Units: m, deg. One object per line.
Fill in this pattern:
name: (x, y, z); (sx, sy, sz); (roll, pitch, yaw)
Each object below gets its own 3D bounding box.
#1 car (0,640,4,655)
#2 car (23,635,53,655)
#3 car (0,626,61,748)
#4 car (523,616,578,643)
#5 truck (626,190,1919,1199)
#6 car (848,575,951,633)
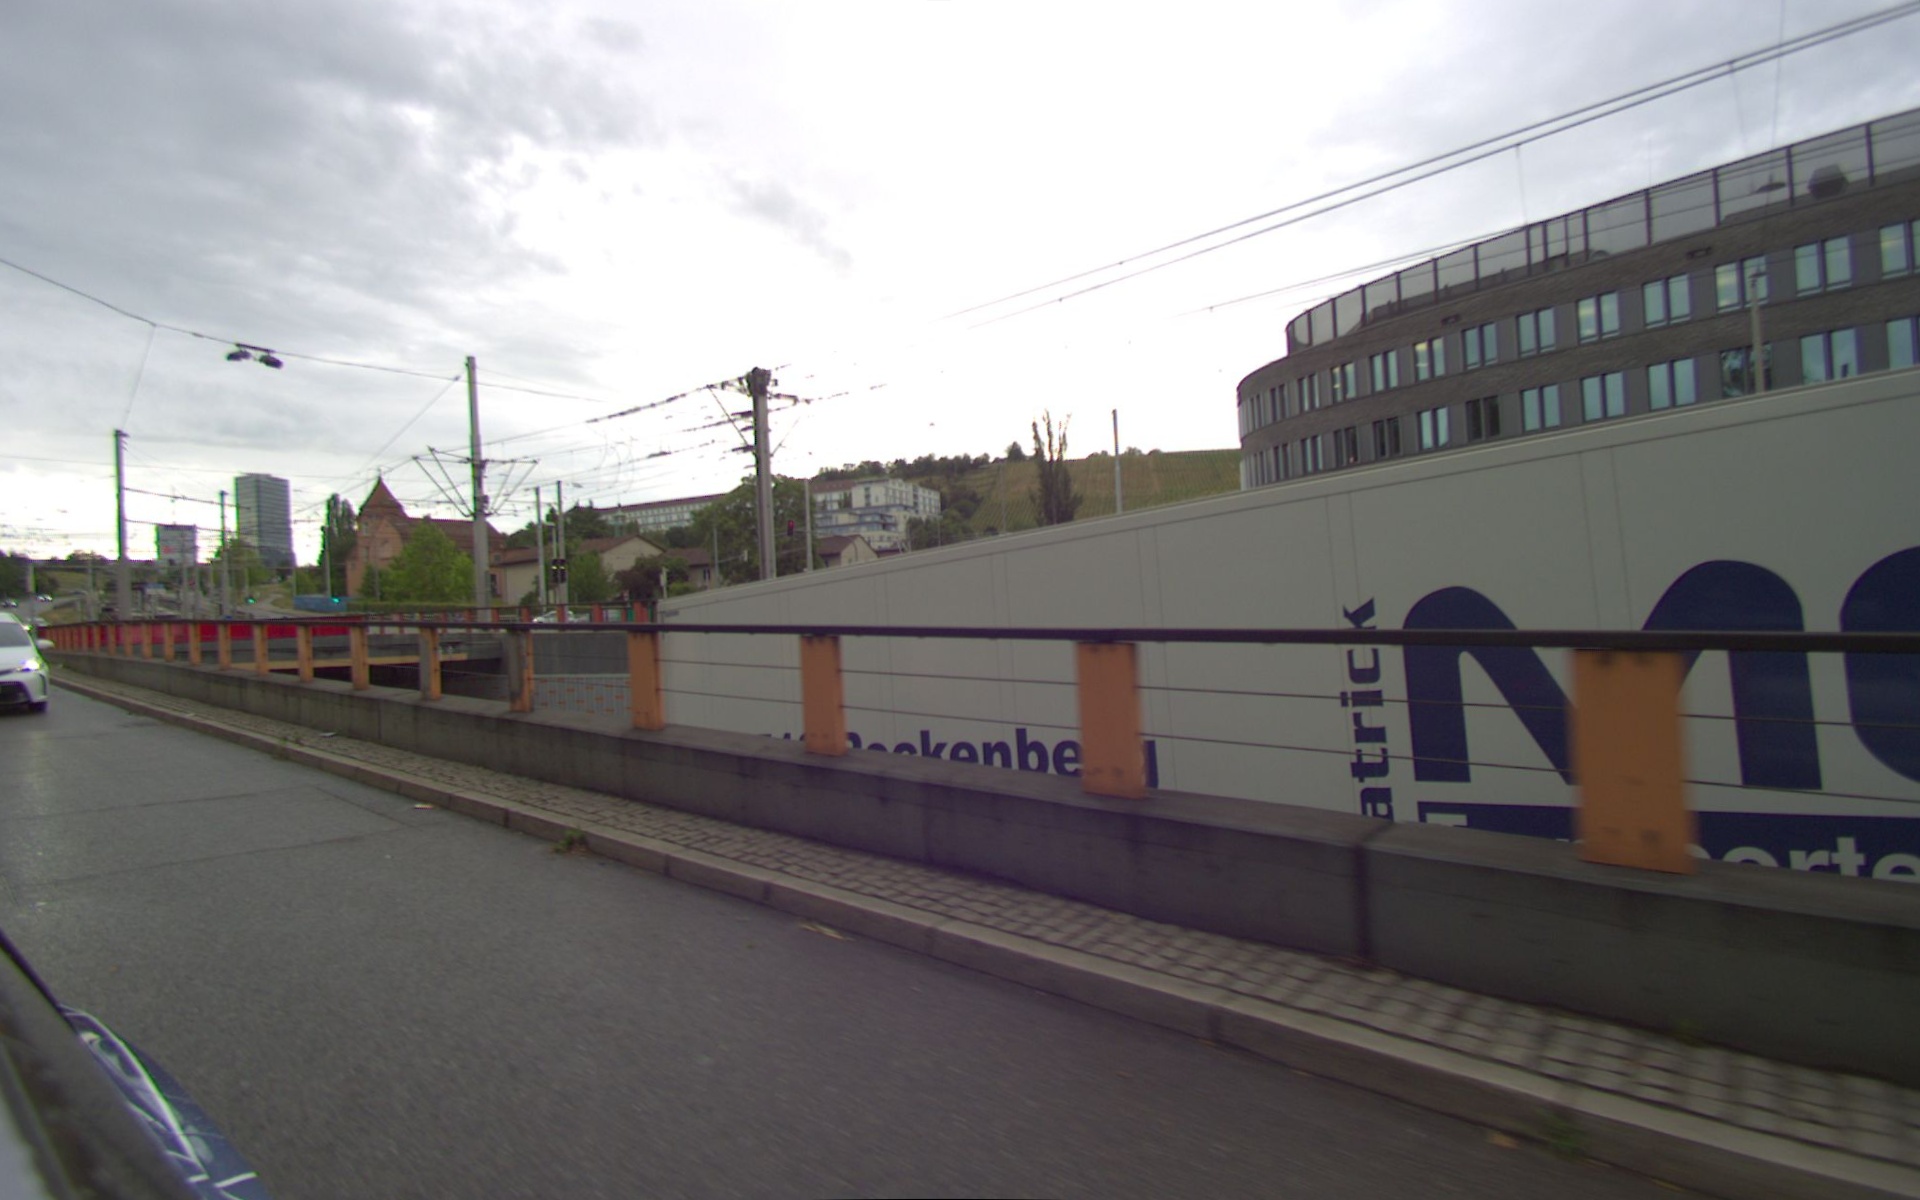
car: (-101.388, 4.960, 105.921); (4.001, 1.482, 1.777); (-1, 1, 44)
car: (-84.747, 4.130, 93.069); (1.712, 1.599, 4.008); (-1, 1, -39)
car: (-15.885, 1.325, 16.292); (4.002, 1.764, 1.830); (0, -1, 45)
car: (-34.511, 2.439, 85.316); (3.933, 2.028, 2.005); (-1, 2, -34)
truck: (2.497, 0.712, 6.546); (13.026, 4.229, 2.733); (-3, -3, 42)
car: (-3.202, 0.269, 52.739); (5.716, 2.853, 1.972); (-1, -2, 42)
